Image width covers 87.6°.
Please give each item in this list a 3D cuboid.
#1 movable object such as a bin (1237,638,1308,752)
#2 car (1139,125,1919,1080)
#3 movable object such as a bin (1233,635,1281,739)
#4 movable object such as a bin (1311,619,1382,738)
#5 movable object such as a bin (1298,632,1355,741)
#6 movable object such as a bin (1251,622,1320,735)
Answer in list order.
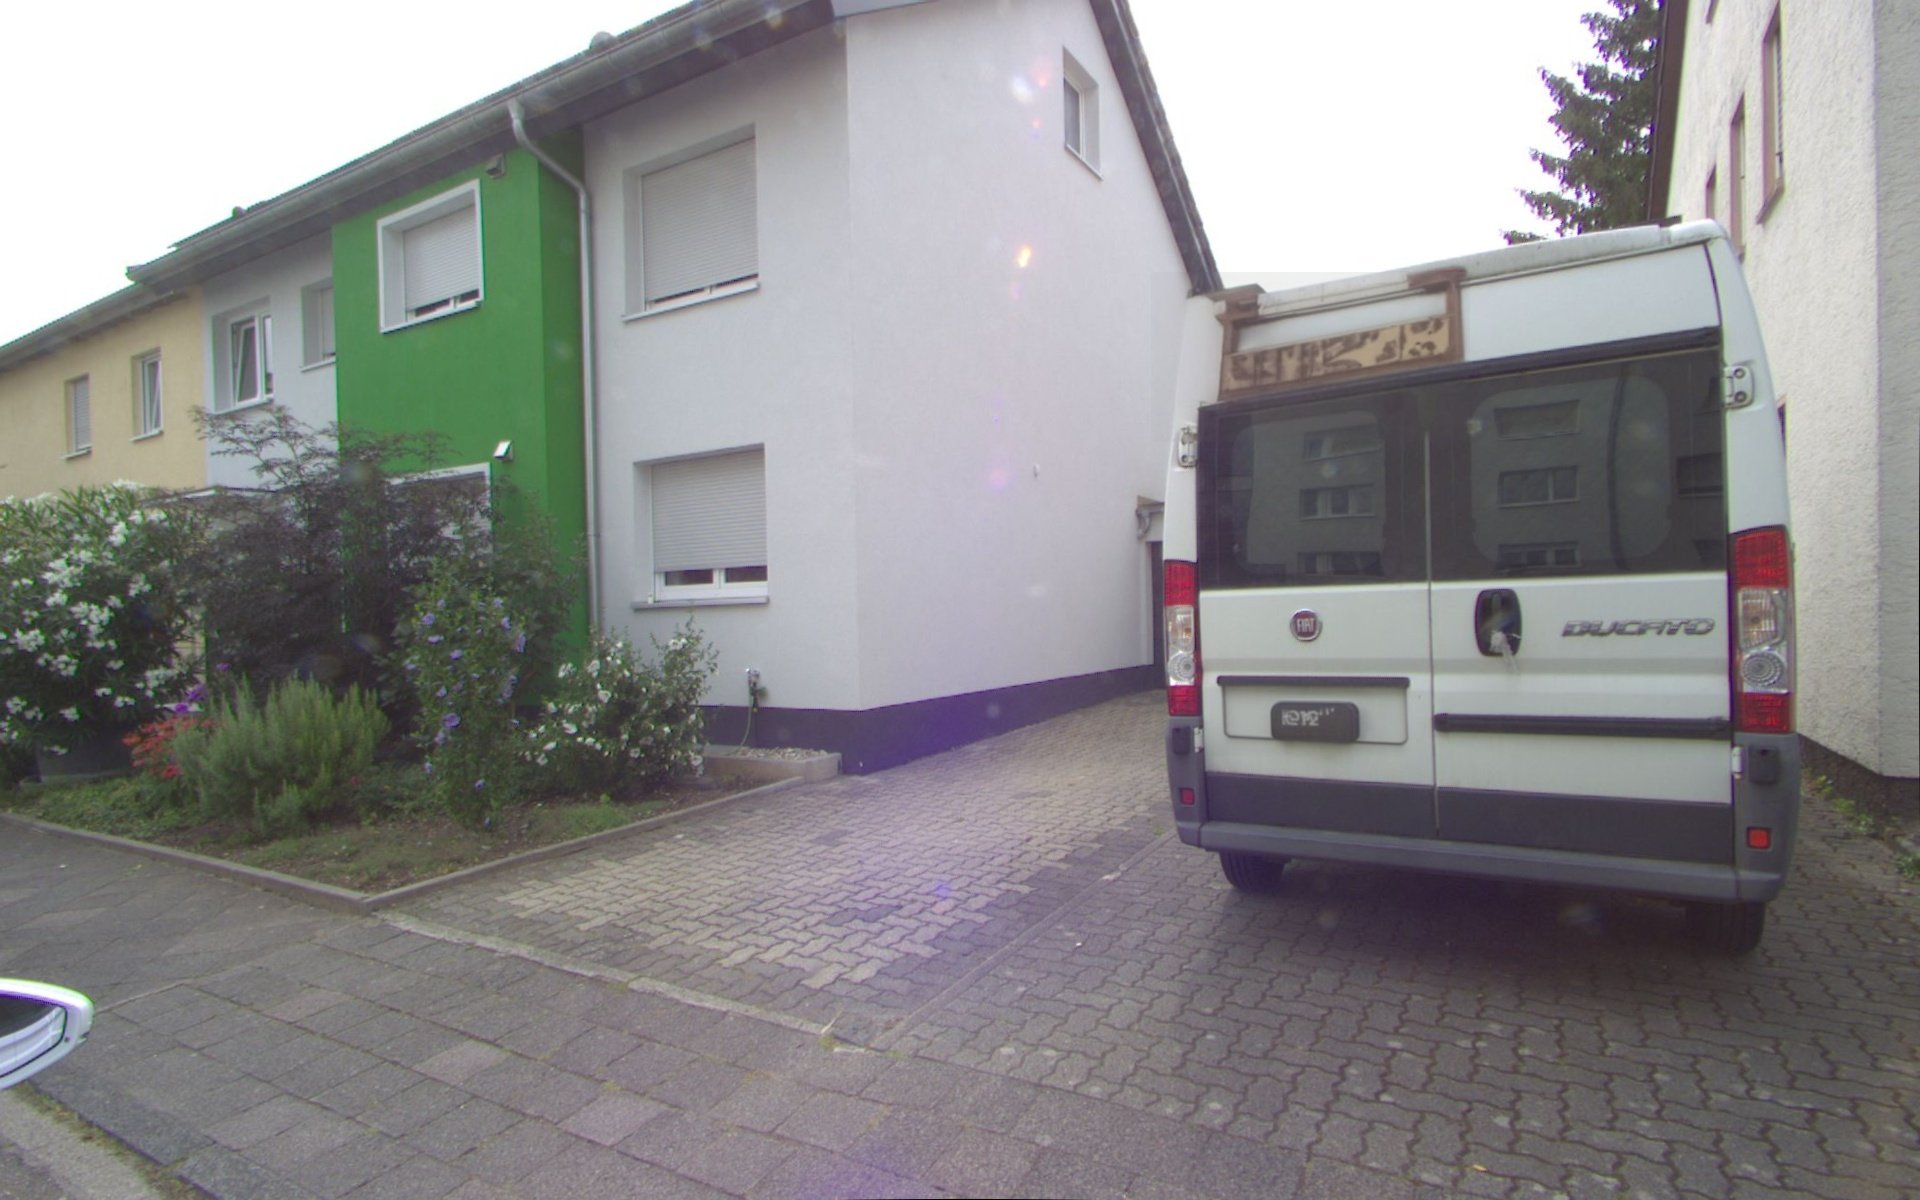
[{"bbox_3d":[2.764,0.820,8.846,0.475,0.938,0.518,-1,2,30],"label":"movable object such as a bin"},{"bbox_3d":[2.963,-0.013,5.456,2.205,2.576,5.077,-1,1,31],"label":"car"},{"bbox_3d":[2.804,0.812,9.443,0.333,0.938,0.354,-1,2,30],"label":"movable object such as a bin"},{"bbox_3d":[3.663,0.726,9.485,0.538,1.071,0.454,-1,2,30],"label":"movable object such as a bin"},{"bbox_3d":[3.335,0.776,9.110,0.396,0.938,0.448,-1,2,30],"label":"movable object such as a bin"},{"bbox_3d":[3.177,0.753,9.770,0.538,1.046,0.454,-1,2,30],"label":"movable object such as a bin"}]
